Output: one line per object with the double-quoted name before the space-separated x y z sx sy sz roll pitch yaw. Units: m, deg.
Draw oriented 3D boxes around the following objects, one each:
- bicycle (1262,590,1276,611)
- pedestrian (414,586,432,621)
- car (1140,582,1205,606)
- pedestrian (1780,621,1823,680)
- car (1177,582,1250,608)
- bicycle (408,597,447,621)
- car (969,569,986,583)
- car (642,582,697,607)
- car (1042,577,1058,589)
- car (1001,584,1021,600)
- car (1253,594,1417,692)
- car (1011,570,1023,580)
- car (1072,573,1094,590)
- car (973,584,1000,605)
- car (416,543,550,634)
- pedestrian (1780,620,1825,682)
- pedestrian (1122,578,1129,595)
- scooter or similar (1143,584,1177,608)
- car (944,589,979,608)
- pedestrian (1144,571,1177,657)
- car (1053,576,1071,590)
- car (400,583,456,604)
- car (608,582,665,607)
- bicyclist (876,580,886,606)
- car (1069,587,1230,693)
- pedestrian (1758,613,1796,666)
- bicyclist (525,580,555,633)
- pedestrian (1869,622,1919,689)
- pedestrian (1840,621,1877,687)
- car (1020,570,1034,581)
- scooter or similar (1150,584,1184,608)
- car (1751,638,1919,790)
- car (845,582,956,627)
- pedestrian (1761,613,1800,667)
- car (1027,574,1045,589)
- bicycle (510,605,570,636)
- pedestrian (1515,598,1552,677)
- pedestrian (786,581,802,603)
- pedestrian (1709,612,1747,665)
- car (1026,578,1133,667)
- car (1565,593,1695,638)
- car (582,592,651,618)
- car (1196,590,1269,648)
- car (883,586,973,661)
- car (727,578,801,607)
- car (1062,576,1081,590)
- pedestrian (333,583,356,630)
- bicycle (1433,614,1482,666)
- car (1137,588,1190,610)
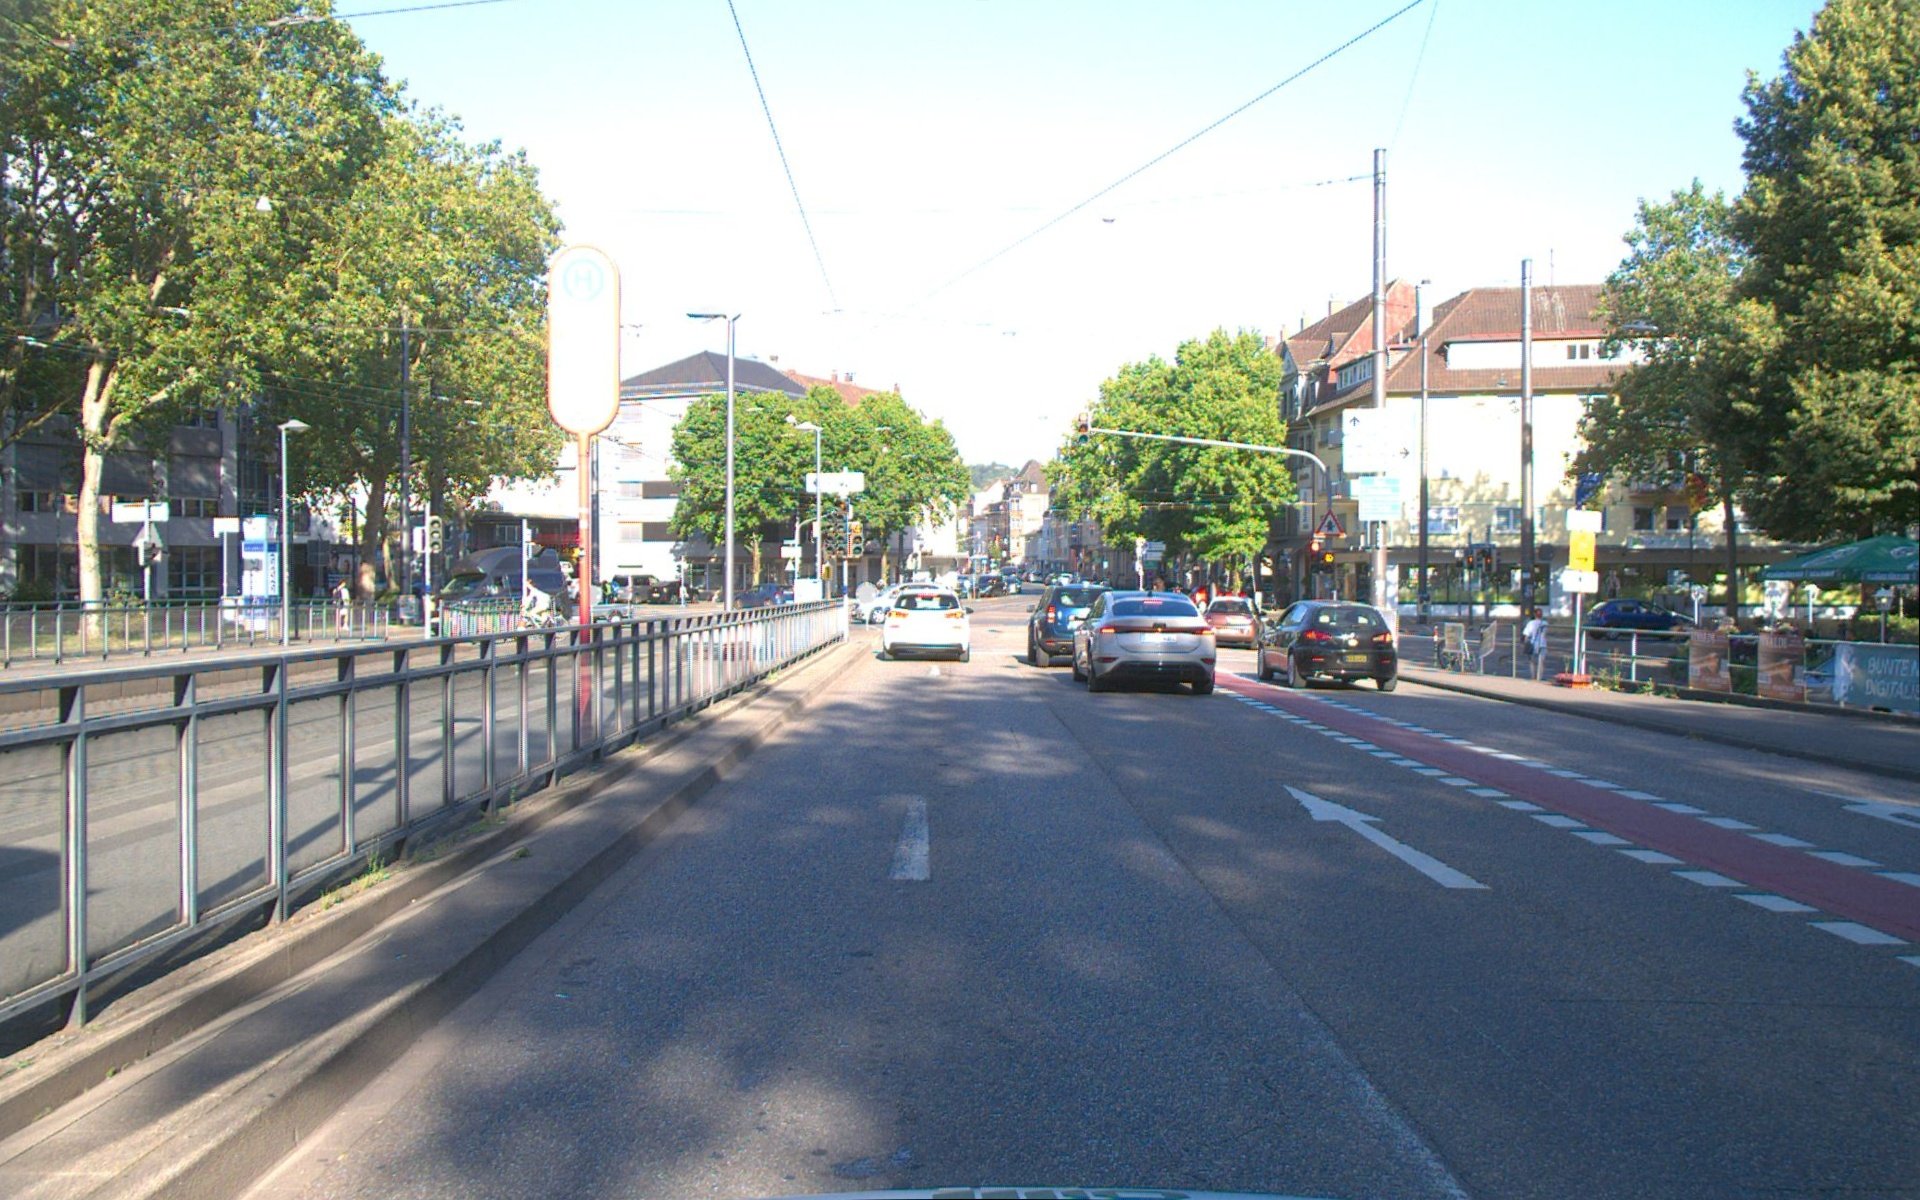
"bicycle" 17.044 0.027 91.247 0.596 1.127 1.801 0 0 4
"pedestrian" -26.362 0.168 81.165 0.634 1.690 0.650 0 0 2
"car" 13.802 -0.398 107.637 3.911 1.536 1.797 0 0 -7
"pedestrian" 19.910 1.190 39.148 0.635 1.361 0.632 3 0 -1
"car" 14.922 -0.307 97.372 3.913 1.536 1.796 0 0 -10
"bicycle" -26.279 0.443 81.658 1.757 1.127 0.500 0 0 1
"car" 1.901 -2.606 180.742 1.758 1.536 3.999 0 0 -2
"car" -19.711 -0.408 112.543 1.881 1.677 4.181 0 0 20
"car" 11.467 -2.160 211.538 1.758 1.549 3.999 0 0 -1
"car" 5.082 -0.837 165.868 1.758 1.536 3.999 0 0 -2
"car" 6.221 0.672 27.897 1.763 1.464 4.044 2 0 -1
"car" 9.051 -3.995 261.814 1.758 1.536 3.999 0 0 -1
"car" 13.344 -1.984 179.640 2.062 1.807 4.340 0 0 -1
"car" 2.274 -0.487 143.224 1.756 1.858 4.004 0 0 9
"car" -15.438 -0.341 53.847 2.023 2.791 5.035 1 -1 12
"pedestrian" 19.455 1.175 38.198 0.635 1.361 0.632 3 0 -1
"pedestrian" 17.076 -1.378 170.859 0.634 1.680 0.651 1 -1 10
"scooter or similar" 10.975 -0.232 90.861 1.915 1.303 0.550 0 0 41
"car" 0.133 -0.088 135.757 1.756 1.537 4.002 0 0 18
"pedestrian" 4.513 0.309 37.302 0.643 1.903 0.677 0 0 -1
"car" 11.812 -1.979 192.305 1.758 1.536 3.999 0 0 -1
"car" -39.092 -0.492 121.696 1.758 1.536 3.999 0 1 23
"car" -22.126 -0.409 113.213 1.760 1.677 4.004 0 1 28
"bicyclist" -5.621 -0.494 117.247 0.458 1.775 0.717 0 0 22
"car" 2.863 0.553 26.003 1.890 1.498 4.854 0 0 -1
"pedestrian" 21.664 1.043 43.879 0.635 1.361 0.632 3 0 -1
"bicyclist" -11.466 0.166 45.201 0.786 1.439 0.525 0 0 -14
"pedestrian" 19.672 1.160 34.851 0.635 1.361 0.632 3 0 -1
"pedestrian" 19.392 1.162 35.706 0.636 1.361 0.630 3 0 30
"car" 9.815 -3.531 241.997 1.758 1.536 3.999 0 0 -1
"scooter or similar" 11.423 -0.220 91.418 1.915 1.303 0.550 0 0 41
"car" 13.471 1.576 23.975 1.758 1.931 4.357 1 0 -3
"car" -2.376 0.187 65.673 4.080 1.722 1.813 1 0 -16
"pedestrian" 21.303 1.030 42.958 0.635 1.361 0.632 3 0 -1
"car" 10.820 -2.631 236.548 2.280 2.049 4.975 0 0 -1
"bicycle" -11.468 0.551 45.202 1.584 0.830 0.525 0 0 -14
"pedestrian" 11.830 0.773 34.153 0.634 1.590 0.632 3 0 18
"pedestrian" -11.501 -0.531 114.557 0.786 1.510 0.862 0 0 25
"pedestrian" 20.384 1.017 43.911 0.635 1.361 0.632 3 0 -1
"car" 2.332 0.405 33.166 1.764 1.666 4.044 0 0 -1
"car" 23.726 0.526 58.660 3.904 1.537 1.801 0 0 2
"car" -21.250 0.312 102.335 3.909 1.536 1.798 1 0 26
"car" 8.073 0.523 48.774 1.756 1.536 4.004 1 1 14
"car" -0.683 0.456 34.913 1.771 1.478 3.999 1 0 -1
"car" -10.748 -0.396 90.487 3.923 1.536 1.792 1 0 38
"car" 12.564 -1.906 186.157 1.758 1.536 3.999 0 0 -1
"pedestrian" -20.674 0.217 55.596 0.524 1.579 0.677 0 0 -1
"bicycle" 10.917 0.871 36.326 0.488 1.093 1.800 1 0 -1
"car" 15.023 -0.094 121.868 3.968 1.536 1.772 0 1 -43
